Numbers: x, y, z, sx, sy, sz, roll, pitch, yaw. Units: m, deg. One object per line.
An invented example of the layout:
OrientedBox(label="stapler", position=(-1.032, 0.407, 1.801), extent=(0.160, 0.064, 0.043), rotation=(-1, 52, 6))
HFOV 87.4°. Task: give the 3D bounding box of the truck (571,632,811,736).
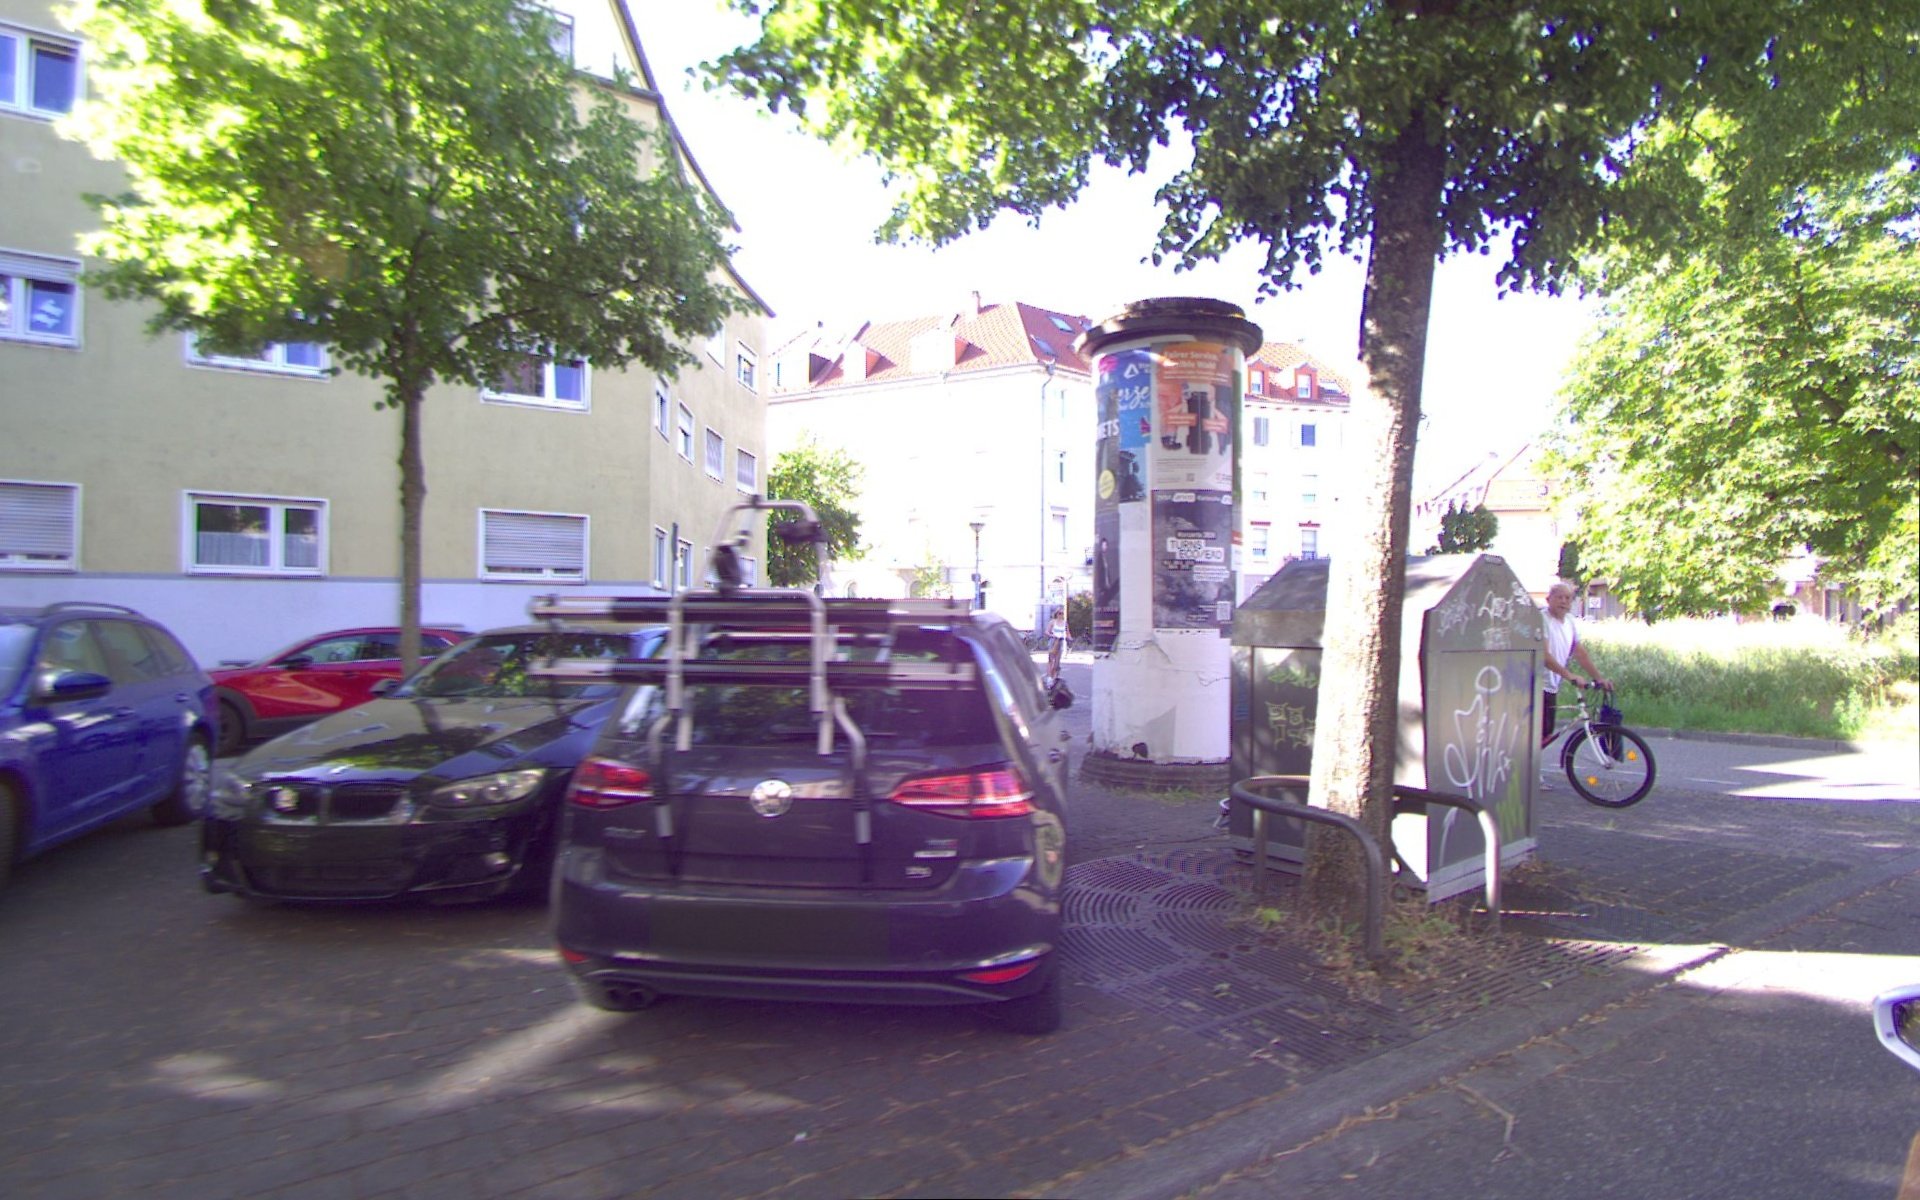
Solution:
OrientedBox(label="truck", position=(-4.212, 1.251, 15.931), extent=(3.381, 1.455, 1.520), rotation=(1, -2, -36))

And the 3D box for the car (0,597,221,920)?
OrientedBox(label="car", position=(-5.567, 0.748, 5.373), extent=(1.620, 1.485, 3.782), rotation=(0, -1, -21))

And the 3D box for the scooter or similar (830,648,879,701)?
OrientedBox(label="scooter or similar", position=(-2.136, 1.504, 20.428), extent=(0.876, 1.049, 0.712), rotation=(0, -1, 3))

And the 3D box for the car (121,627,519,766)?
OrientedBox(label="car", position=(-8.073, 1.120, 12.994), extent=(4.125, 1.547, 1.519), rotation=(1, -2, -36))

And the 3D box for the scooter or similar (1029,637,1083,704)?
OrientedBox(label="scooter or similar", position=(2.050, 1.485, 21.686), extent=(0.554, 1.328, 2.119), rotation=(0, -1, -12))

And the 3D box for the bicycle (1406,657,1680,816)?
OrientedBox(label="bicycle", position=(4.961, 1.102, 8.668), extent=(0.660, 1.159, 1.941), rotation=(1, -2, -42))

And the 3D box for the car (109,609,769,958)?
OrientedBox(label="car", position=(-2.550, 0.798, 6.152), extent=(1.751, 1.421, 4.002), rotation=(0, -1, 4))

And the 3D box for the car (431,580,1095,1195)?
OrientedBox(label="car", position=(-0.305, 0.757, 4.675), extent=(1.740, 1.501, 4.145), rotation=(1, -1, 7))

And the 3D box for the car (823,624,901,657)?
OrientedBox(label="car", position=(-4.602, 1.896, 47.240), extent=(3.338, 1.485, 1.488), rotation=(-1, -1, 22))

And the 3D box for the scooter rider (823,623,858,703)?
OrientedBox(label="scooter rider", position=(-2.337, 1.234, 19.742), extent=(0.595, 1.549, 0.526), rotation=(0, -1, 4))

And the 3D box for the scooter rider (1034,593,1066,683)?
OrientedBox(label="scooter rider", position=(1.979, 0.834, 22.099), extent=(0.547, 1.959, 0.616), rotation=(0, -1, -11))

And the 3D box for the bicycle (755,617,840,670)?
OrientedBox(label="bicycle", position=(-3.470, 0.921, 21.652), extent=(0.481, 1.087, 2.135), rotation=(-1, -2, 35))

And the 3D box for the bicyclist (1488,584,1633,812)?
OrientedBox(label="bicyclist", position=(5.121, 0.788, 8.577), extent=(0.793, 1.808, 0.877), rotation=(1, -1, -43))
